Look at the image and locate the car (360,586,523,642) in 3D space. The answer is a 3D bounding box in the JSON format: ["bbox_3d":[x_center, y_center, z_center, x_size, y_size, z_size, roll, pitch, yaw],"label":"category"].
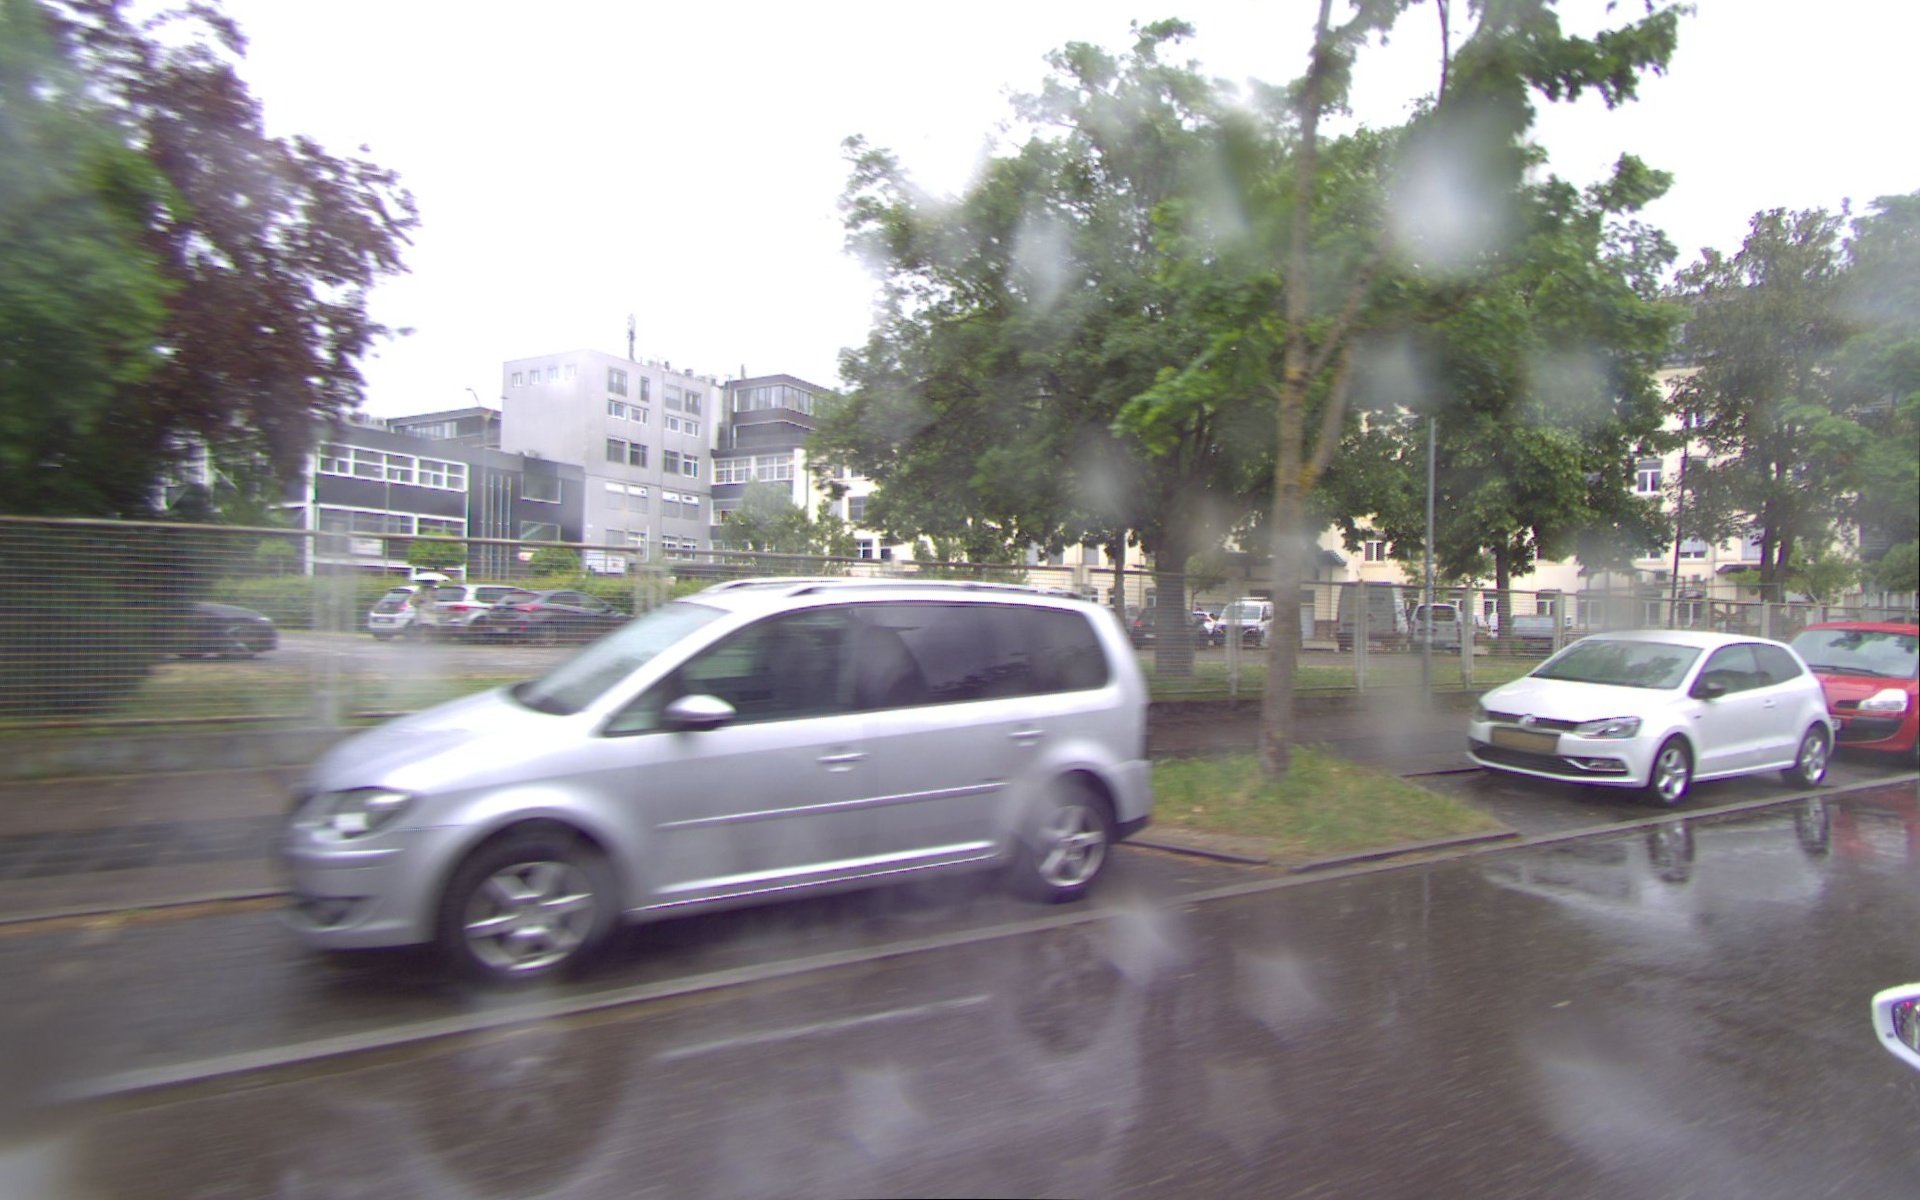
[{"bbox_3d":[-14.648,0.401,28.590,1.731,1.470,3.812,1,-1,27],"label":"car"}]

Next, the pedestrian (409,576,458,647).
[{"bbox_3d":[-12.867,0.281,24.545,0.988,1.690,0.720,1,-1,-30],"label":"pedestrian"}]

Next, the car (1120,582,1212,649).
[{"bbox_3d":[6.891,0.516,33.322,1.963,2.040,3.995,2,0,27],"label":"car"}]

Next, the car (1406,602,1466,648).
[{"bbox_3d":[16.654,0.866,35.079,1.679,1.453,3.644,2,0,29],"label":"car"}]

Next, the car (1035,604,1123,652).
[{"bbox_3d":[4.240,0.951,35.459,1.963,1.529,3.544,2,1,27],"label":"car"}]

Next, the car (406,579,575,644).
[{"bbox_3d":[-12.696,0.323,27.391,1.895,1.621,3.861,1,-1,24],"label":"car"}]

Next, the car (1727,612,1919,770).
[{"bbox_3d":[11.200,1.021,12.401,4.161,1.619,1.614,2,0,-36],"label":"car"}]

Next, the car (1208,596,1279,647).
[{"bbox_3d":[11.030,0.821,38.941,1.899,1.809,3.995,2,0,27],"label":"car"}]

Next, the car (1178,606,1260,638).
[{"bbox_3d":[13.032,1.084,50.645,3.919,1.567,2.001,0,0,15],"label":"car"}]

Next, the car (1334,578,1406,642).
[{"bbox_3d":[14.812,0.378,36.174,1.963,2.150,3.994,2,0,28],"label":"car"}]

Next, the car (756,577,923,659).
[{"bbox_3d":[-2.544,0.418,22.229,1.816,1.593,3.998,2,-1,24],"label":"car"}]

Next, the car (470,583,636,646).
[{"bbox_3d":[-10.595,0.377,26.454,1.828,1.516,3.915,1,-1,22],"label":"car"}]

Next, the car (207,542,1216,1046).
[{"bbox_3d":[-0.982,0.659,5.283,4.546,1.702,1.767,1,2,-30],"label":"car"}]

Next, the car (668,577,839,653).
[{"bbox_3d":[-4.620,0.378,23.104,1.961,1.578,4.000,1,-2,21],"label":"car"}]

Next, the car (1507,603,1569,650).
[{"bbox_3d":[19.447,0.865,33.894,1.679,1.453,3.644,2,0,29],"label":"car"}]

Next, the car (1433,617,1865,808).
[{"bbox_3d":[6.662,0.963,9.646,4.120,1.480,1.654,2,0,-27],"label":"car"}]
